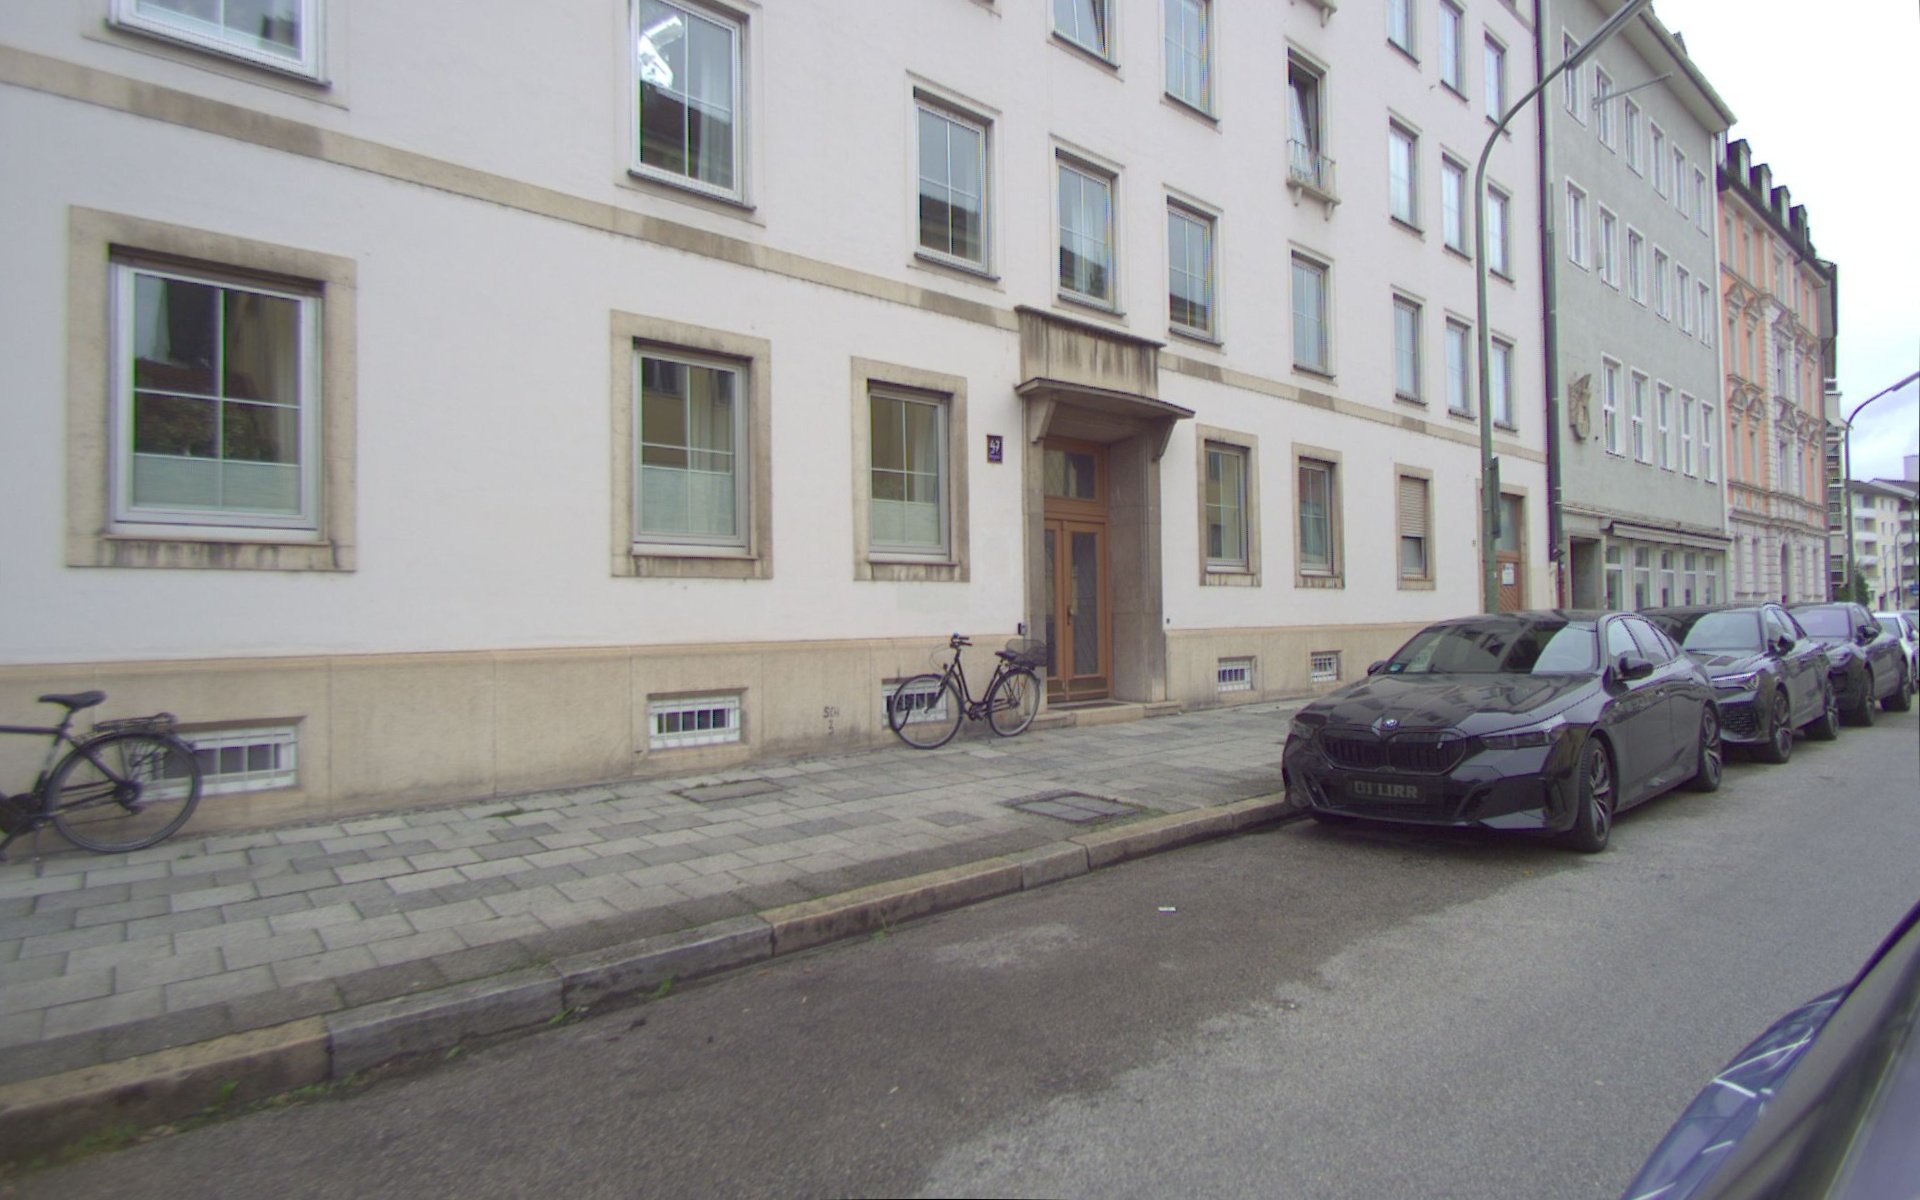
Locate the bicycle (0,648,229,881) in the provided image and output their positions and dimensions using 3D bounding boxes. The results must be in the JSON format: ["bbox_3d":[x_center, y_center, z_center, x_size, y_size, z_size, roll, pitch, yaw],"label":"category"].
[{"bbox_3d":[-4.999,0.853,5.333,1.805,1.105,0.630,0,1,-42],"label":"bicycle"}]

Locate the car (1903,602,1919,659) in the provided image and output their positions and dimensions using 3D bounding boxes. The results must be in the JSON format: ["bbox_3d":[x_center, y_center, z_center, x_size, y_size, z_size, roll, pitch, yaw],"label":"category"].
[{"bbox_3d":[26.864,0.758,27.125,4.117,1.485,1.723,0,-4,-40],"label":"car"}]

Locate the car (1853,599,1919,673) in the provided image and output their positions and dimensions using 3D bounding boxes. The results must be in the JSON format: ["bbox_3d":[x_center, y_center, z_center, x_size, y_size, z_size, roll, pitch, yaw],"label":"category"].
[{"bbox_3d":[21.972,0.772,23.104,3.930,1.561,1.766,0,-4,-41],"label":"car"}]

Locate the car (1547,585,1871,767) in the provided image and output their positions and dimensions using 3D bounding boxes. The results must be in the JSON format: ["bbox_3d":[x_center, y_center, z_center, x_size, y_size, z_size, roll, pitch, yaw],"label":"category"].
[{"bbox_3d":[8.324,0.710,11.099,4.411,1.602,1.830,0,-3,-40],"label":"car"}]

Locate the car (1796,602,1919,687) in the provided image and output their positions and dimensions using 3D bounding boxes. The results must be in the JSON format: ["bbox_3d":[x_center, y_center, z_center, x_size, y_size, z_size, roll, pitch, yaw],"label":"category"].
[{"bbox_3d":[17.439,0.787,19.198,4.108,1.449,1.743,0,-3,-41],"label":"car"}]

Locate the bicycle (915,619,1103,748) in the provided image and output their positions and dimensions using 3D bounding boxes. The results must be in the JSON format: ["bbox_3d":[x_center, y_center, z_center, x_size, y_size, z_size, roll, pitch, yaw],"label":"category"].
[{"bbox_3d":[0.523,0.761,9.933,2.005,1.093,0.598,0,1,-42],"label":"bicycle"}]

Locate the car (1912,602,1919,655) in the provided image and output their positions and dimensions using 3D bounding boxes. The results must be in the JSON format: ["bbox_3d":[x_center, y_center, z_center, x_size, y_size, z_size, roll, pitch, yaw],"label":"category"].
[{"bbox_3d":[31.316,0.812,31.392,4.411,1.593,1.999,0,-4,-40],"label":"car"}]

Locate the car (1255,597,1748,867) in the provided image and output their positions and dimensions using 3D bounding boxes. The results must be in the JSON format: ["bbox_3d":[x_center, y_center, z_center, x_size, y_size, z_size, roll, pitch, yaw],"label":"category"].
[{"bbox_3d":[4.363,0.759,7.774,4.620,1.466,1.875,0,-3,-43],"label":"car"}]

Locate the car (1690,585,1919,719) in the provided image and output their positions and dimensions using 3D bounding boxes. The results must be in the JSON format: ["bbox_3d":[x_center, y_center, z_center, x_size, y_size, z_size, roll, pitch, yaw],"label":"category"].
[{"bbox_3d":[12.048,0.655,14.190,4.411,1.602,1.830,0,-3,-40],"label":"car"}]
